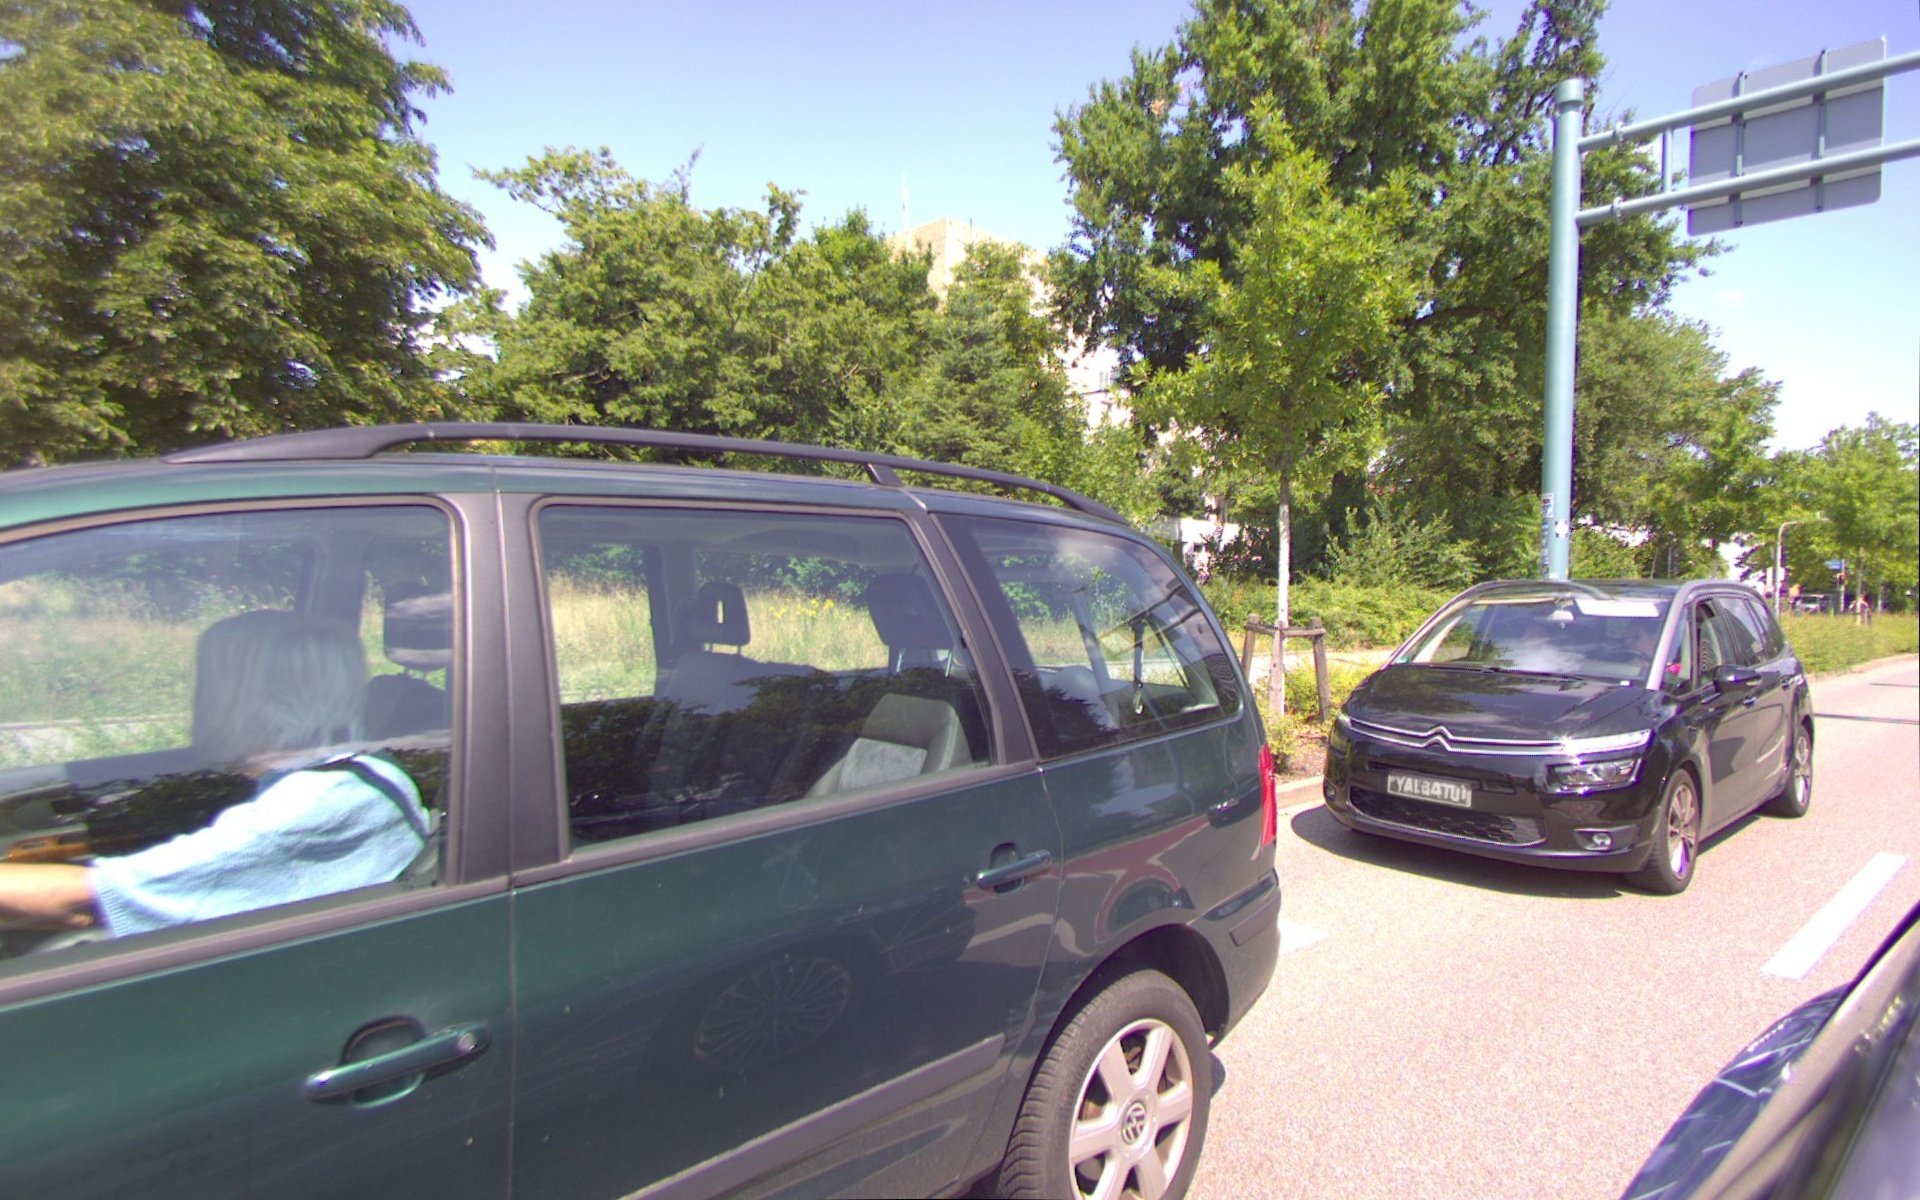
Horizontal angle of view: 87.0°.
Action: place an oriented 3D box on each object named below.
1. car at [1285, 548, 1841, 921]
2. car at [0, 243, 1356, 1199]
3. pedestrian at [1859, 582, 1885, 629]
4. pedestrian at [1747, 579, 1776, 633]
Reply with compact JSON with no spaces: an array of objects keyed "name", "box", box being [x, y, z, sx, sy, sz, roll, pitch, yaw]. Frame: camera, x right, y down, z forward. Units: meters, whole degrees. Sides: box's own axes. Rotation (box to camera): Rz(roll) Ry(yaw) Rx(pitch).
[{"name":"car","box":[4.118,0.602,6.567,4.400,1.628,1.815,1,-1,-41]},{"name":"car","box":[-1.150,0.531,1.965,4.315,1.737,1.804,0,-1,-41]},{"name":"pedestrian","box":[35.584,0.220,39.502,0.636,1.787,0.874,2,1,37]},{"name":"pedestrian","box":[31.149,0.237,39.318,0.842,2.063,0.889,2,0,39]}]
